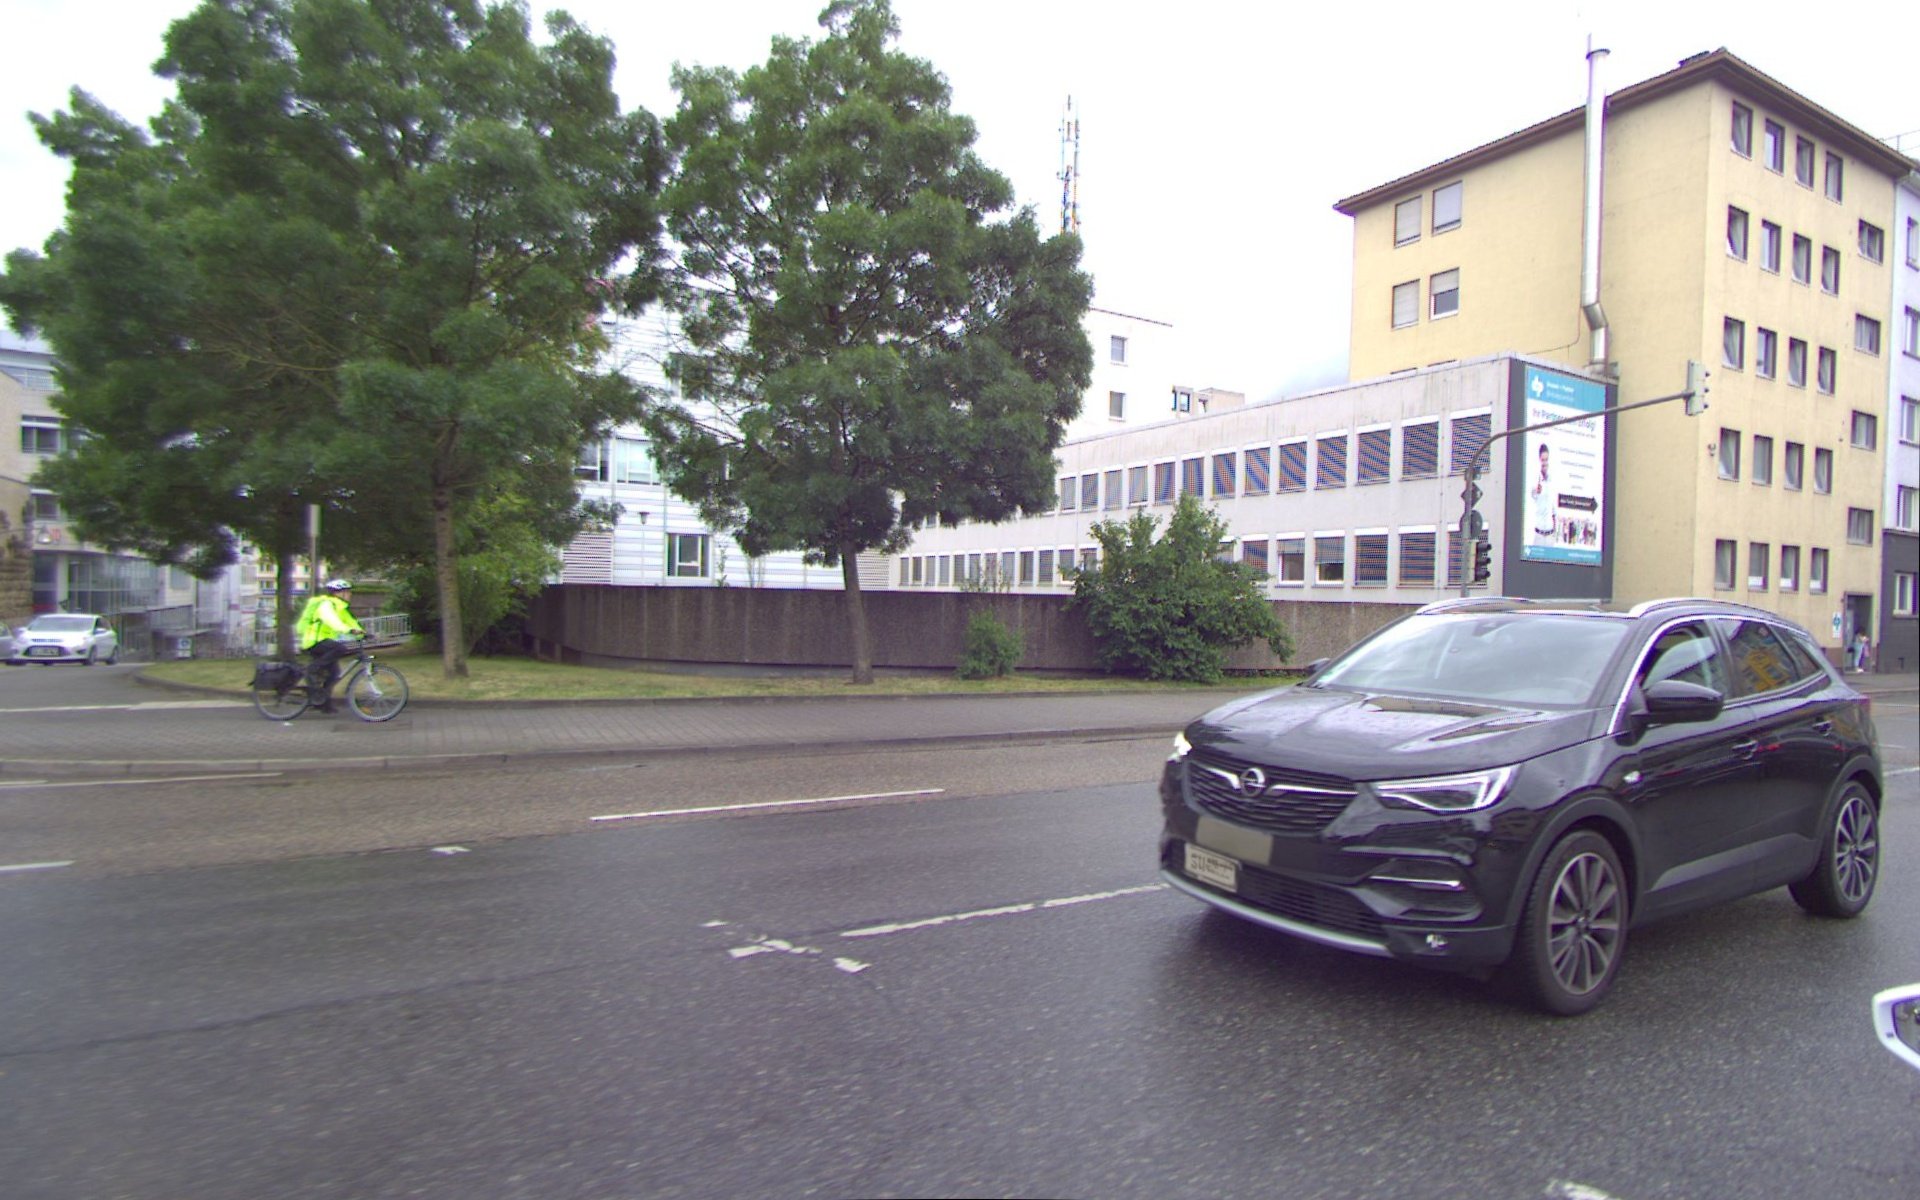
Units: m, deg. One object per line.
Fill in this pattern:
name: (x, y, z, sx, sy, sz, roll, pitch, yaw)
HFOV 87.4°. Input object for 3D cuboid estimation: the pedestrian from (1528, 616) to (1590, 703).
pedestrian: (12.297, 1.209, 20.634, 0.801, 1.712, 0.714, 2, 2, -29)

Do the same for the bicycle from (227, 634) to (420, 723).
bicycle: (-7.423, 0.900, 11.836, 1.844, 0.920, 0.881, 2, 1, -29)

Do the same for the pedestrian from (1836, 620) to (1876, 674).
pedestrian: (29.668, 1.557, 33.258, 0.801, 1.712, 0.714, 2, 2, -29)

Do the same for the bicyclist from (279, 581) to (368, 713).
bicyclist: (-7.452, 0.530, 11.804, 0.803, 1.461, 0.838, 2, 1, -29)

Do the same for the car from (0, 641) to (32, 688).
car: (-32.459, 2.134, 33.167, 1.979, 1.476, 3.964, 1, -4, -33)

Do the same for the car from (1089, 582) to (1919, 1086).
car: (2.896, 0.791, 5.082, 4.245, 1.616, 1.799, 2, 0, -31)

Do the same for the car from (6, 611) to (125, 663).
car: (-27.304, 1.183, 30.806, 1.977, 1.476, 3.967, 1, -4, -31)
